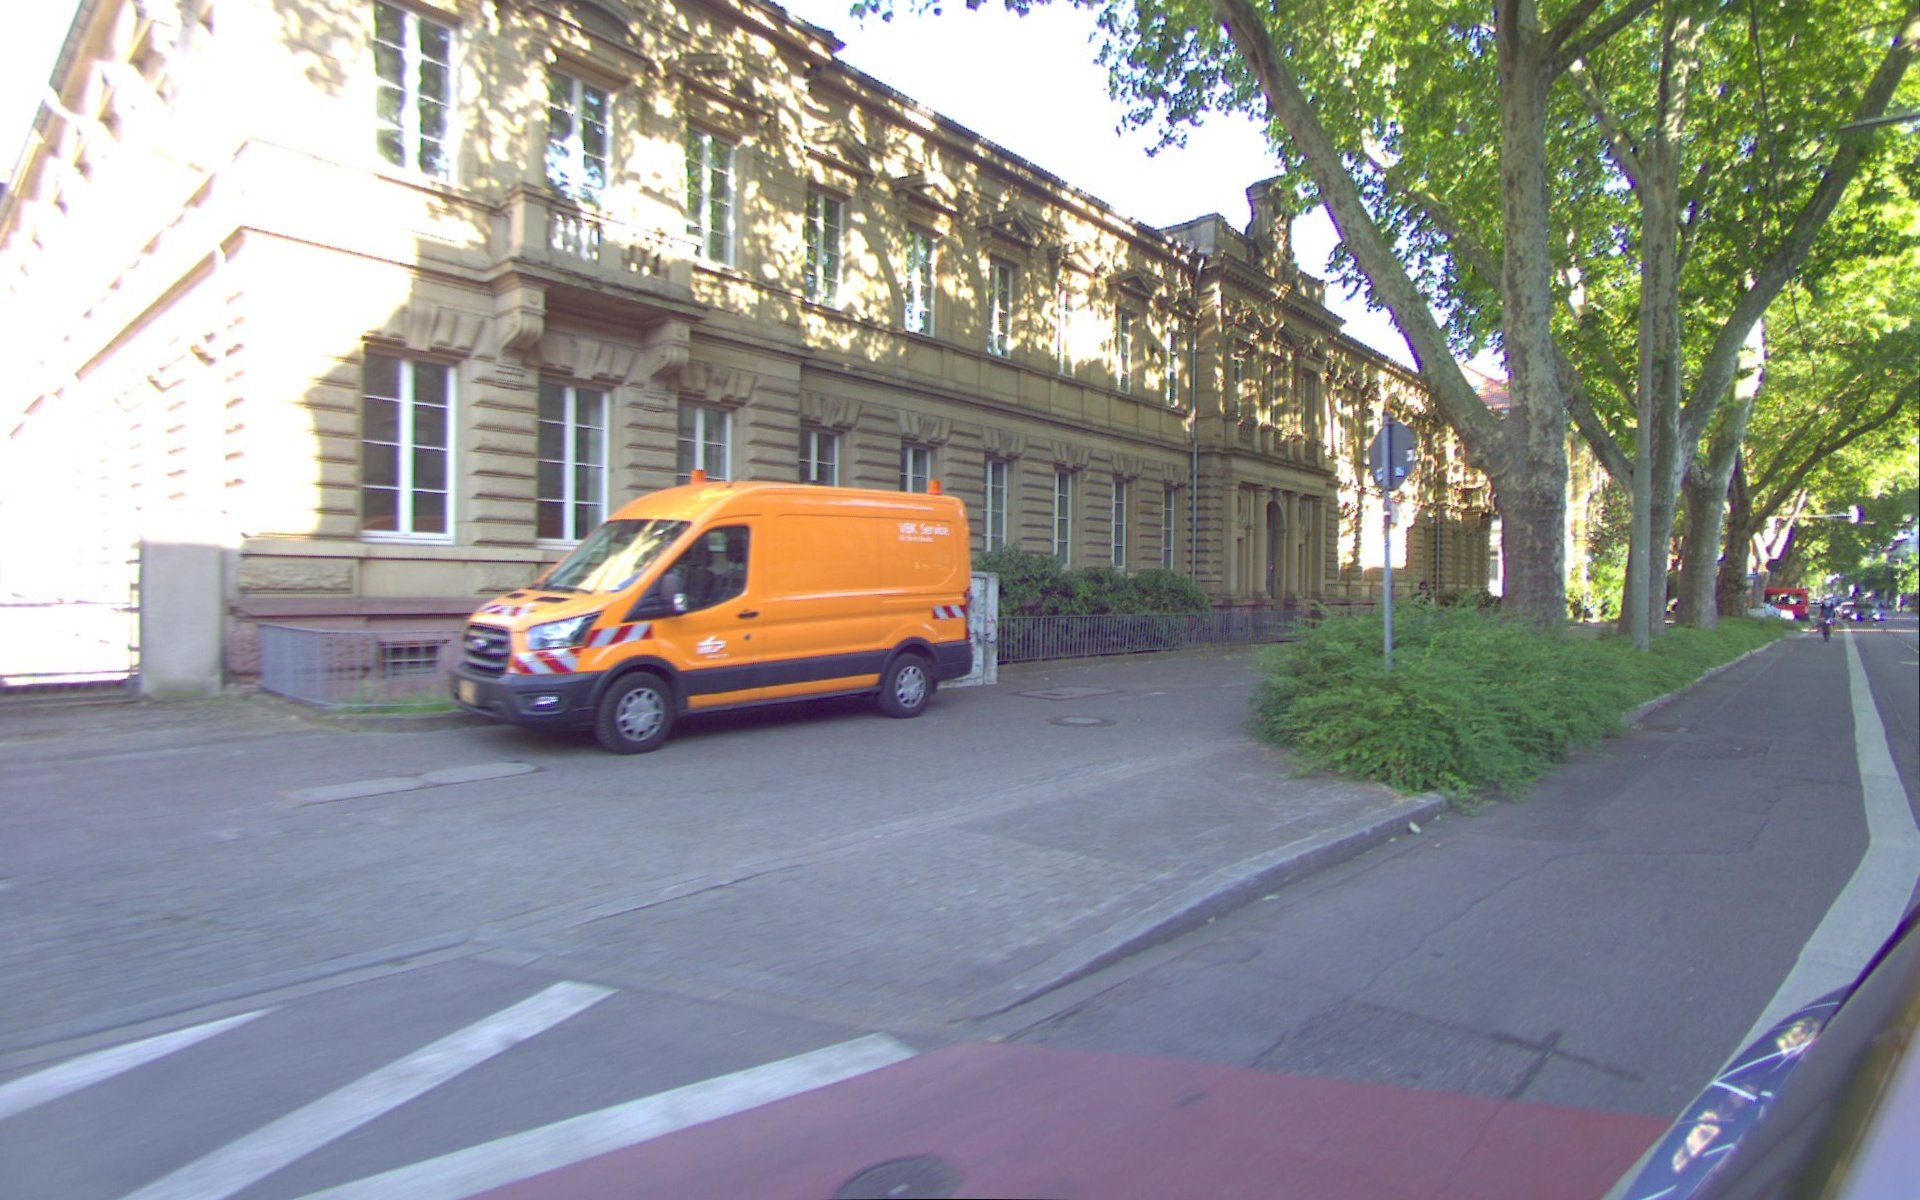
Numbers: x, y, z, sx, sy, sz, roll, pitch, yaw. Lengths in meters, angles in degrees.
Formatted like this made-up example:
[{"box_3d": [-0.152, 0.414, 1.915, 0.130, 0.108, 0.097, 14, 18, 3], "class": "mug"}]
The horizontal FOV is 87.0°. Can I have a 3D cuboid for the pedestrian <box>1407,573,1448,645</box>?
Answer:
[{"box_3d": [11.591, 0.213, 25.078, 0.650, 1.758, 0.992, 1, 1, 42], "class": "pedestrian"}]

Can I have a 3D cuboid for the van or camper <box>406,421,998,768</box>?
[{"box_3d": [-2.238, -0.071, 10.357, 2.035, 2.591, 5.683, 1, 1, 43], "class": "van or camper"}]

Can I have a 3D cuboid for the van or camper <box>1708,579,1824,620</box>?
[{"box_3d": [53.439, -0.099, 67.231, 5.904, 2.528, 2.190, 1, 3, 40], "class": "van or camper"}]

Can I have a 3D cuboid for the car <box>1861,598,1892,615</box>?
[{"box_3d": [76.604, 0.527, 84.628, 1.733, 1.390, 3.862, -1, -1, 40], "class": "car"}]

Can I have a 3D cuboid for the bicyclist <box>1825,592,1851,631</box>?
[{"box_3d": [33.537, 0.437, 38.650, 0.713, 1.461, 0.939, 1, 1, 43], "class": "bicyclist"}]

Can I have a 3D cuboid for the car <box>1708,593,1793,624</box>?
[{"box_3d": [44.226, 0.430, 56.681, 3.665, 1.561, 1.592, 2, 4, 42], "class": "car"}]

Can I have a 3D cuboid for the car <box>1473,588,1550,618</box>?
[{"box_3d": [31.325, 0.149, 57.555, 3.560, 1.561, 1.711, 2, 4, 42], "class": "car"}]

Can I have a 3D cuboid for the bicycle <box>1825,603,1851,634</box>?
[{"box_3d": [33.595, 0.691, 38.722, 0.712, 1.152, 2.088, 1, 1, 41], "class": "bicycle"}]
